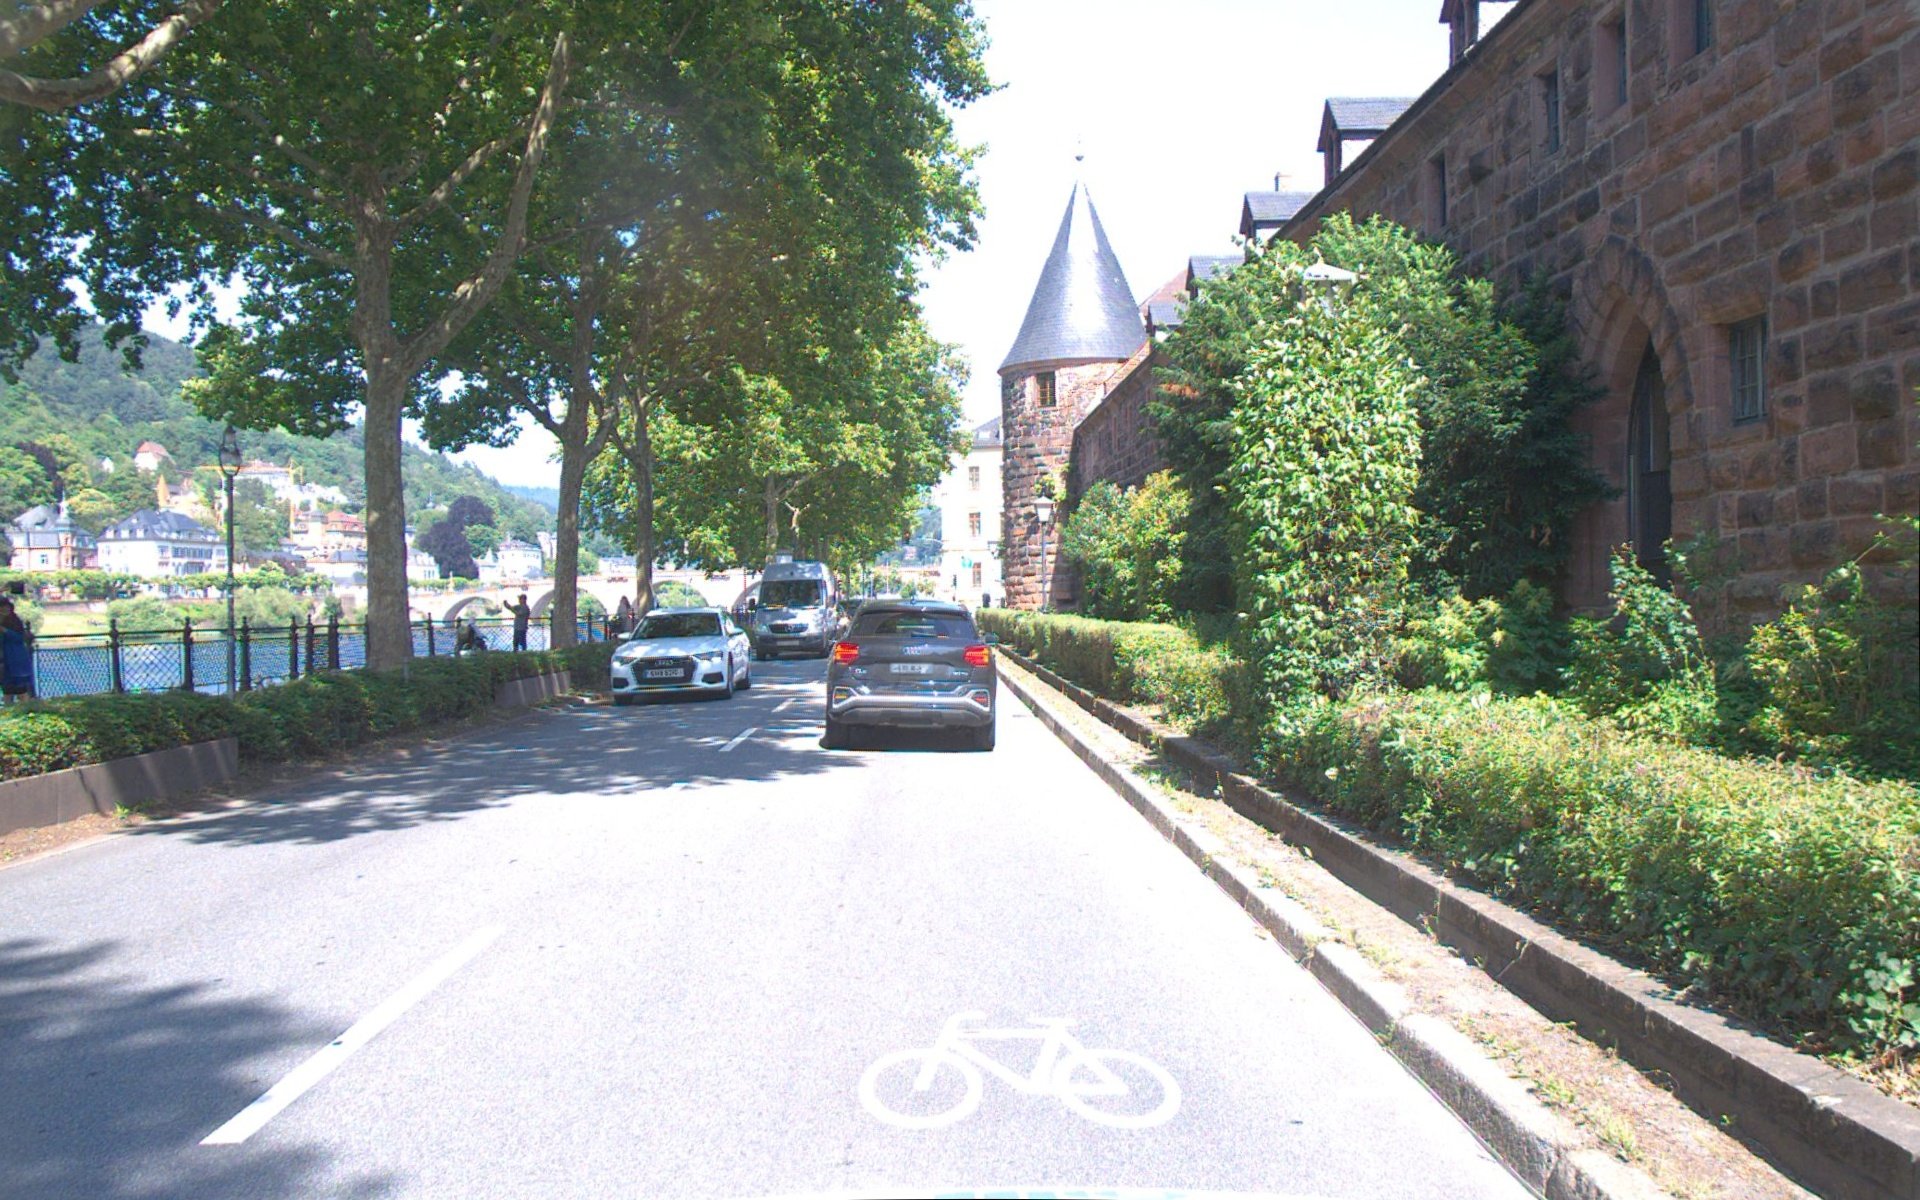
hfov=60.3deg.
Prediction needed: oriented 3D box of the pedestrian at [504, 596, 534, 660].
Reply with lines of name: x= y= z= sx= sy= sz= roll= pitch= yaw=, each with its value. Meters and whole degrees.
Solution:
pedestrian: x=-11.426 y=0.726 z=42.863 sx=0.631 sy=1.647 sz=0.458 roll=1 pitch=-1 yaw=-4

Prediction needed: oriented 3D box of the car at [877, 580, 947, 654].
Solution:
car: x=-1.423 y=0.477 z=49.464 sx=1.953 sy=2.049 sz=3.999 roll=-2 pitch=0 yaw=-2

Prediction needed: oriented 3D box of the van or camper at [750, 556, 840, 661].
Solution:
van or camper: x=-4.496 y=0.237 z=45.787 sx=1.921 sy=2.612 sz=5.839 roll=-3 pitch=0 yaw=-1

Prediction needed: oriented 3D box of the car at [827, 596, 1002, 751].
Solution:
car: x=-0.523 y=0.720 z=18.011 sx=1.713 sy=1.521 sz=3.627 roll=0 pitch=0 yaw=-3

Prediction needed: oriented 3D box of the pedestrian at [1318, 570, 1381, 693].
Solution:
pedestrian: x=5.504 y=0.439 z=23.403 sx=0.684 sy=1.681 sz=0.705 roll=-2 pitch=0 yaw=1

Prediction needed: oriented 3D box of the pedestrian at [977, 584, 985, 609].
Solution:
pedestrian: x=1.402 y=-0.260 z=111.539 sx=0.545 sy=1.661 sz=0.660 roll=1 pitch=-1 yaw=-1

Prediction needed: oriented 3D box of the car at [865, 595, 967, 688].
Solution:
car: x=-0.795 y=0.741 z=31.293 sx=1.764 sy=1.590 sz=3.715 roll=-2 pitch=0 yaw=0

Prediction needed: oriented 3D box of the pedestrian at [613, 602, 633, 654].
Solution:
pedestrian: x=-10.458 y=0.872 z=51.330 sx=0.448 sy=1.581 sz=0.585 roll=-2 pitch=0 yaw=-2

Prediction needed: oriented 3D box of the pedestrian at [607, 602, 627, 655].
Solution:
pedestrian: x=-10.468 y=0.875 z=50.442 sx=0.448 sy=1.581 sz=0.585 roll=-2 pitch=0 yaw=-2

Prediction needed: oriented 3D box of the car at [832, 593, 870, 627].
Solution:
car: x=-5.894 y=0.543 z=89.760 sx=1.839 sy=1.728 sz=4.257 roll=-2 pitch=0 yaw=-2

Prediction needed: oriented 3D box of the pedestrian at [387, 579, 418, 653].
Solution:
pedestrian: x=-13.265 y=0.388 z=39.383 sx=0.573 sy=1.740 sz=0.403 roll=1 pitch=-1 yaw=-4

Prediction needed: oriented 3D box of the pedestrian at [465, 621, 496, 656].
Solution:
pedestrian: x=-12.565 y=1.011 z=43.356 sx=0.595 sy=0.899 sz=0.705 roll=-1 pitch=0 yaw=-2

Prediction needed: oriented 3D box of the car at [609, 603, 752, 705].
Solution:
car: x=-4.512 y=0.828 z=27.287 sx=1.734 sy=1.482 sz=4.532 roll=-2 pitch=0 yaw=-2

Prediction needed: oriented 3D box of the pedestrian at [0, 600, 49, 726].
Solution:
pedestrian: x=-12.517 y=0.821 z=21.726 sx=0.689 sy=1.631 sz=0.705 roll=-1 pitch=-1 yaw=0

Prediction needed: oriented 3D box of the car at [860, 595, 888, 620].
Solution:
car: x=-5.968 y=0.516 z=115.224 sx=1.727 sy=1.676 sz=4.089 roll=-2 pitch=0 yaw=-1

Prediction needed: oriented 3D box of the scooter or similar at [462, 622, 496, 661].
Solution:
scooter or similar: x=-12.565 y=1.080 z=43.204 sx=0.618 sy=0.985 sz=1.012 roll=0 pitch=-1 yaw=-2
